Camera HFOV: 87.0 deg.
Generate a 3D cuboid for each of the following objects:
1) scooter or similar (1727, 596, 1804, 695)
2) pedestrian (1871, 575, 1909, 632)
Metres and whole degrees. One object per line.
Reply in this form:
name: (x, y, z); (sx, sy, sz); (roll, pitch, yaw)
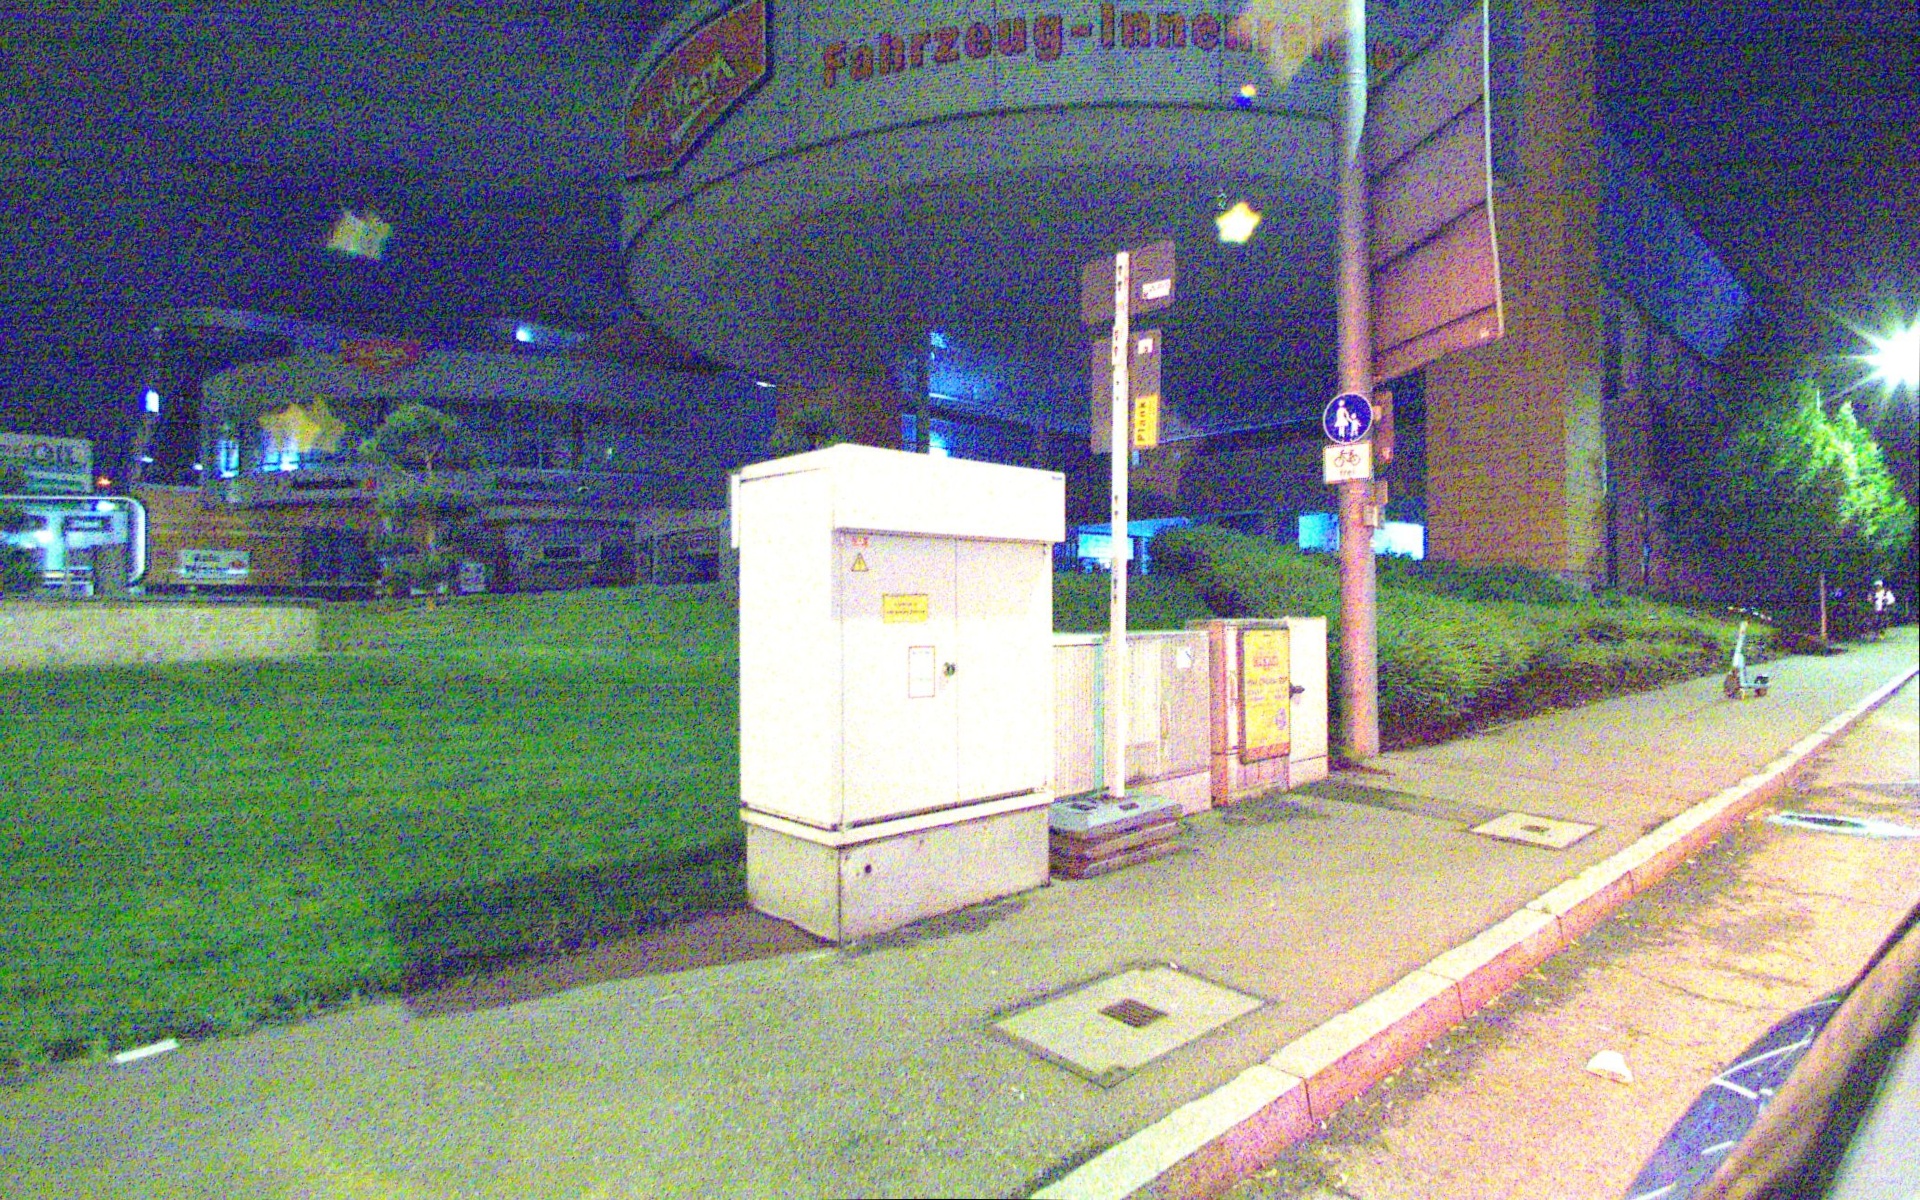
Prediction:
scooter or similar: (11.251, 0.604, 14.123); (1.367, 1.295, 0.569); (0, 1, -41)
pedestrian: (30.187, 0.105, 32.857); (0.597, 1.842, 0.824); (-1, 0, -40)
